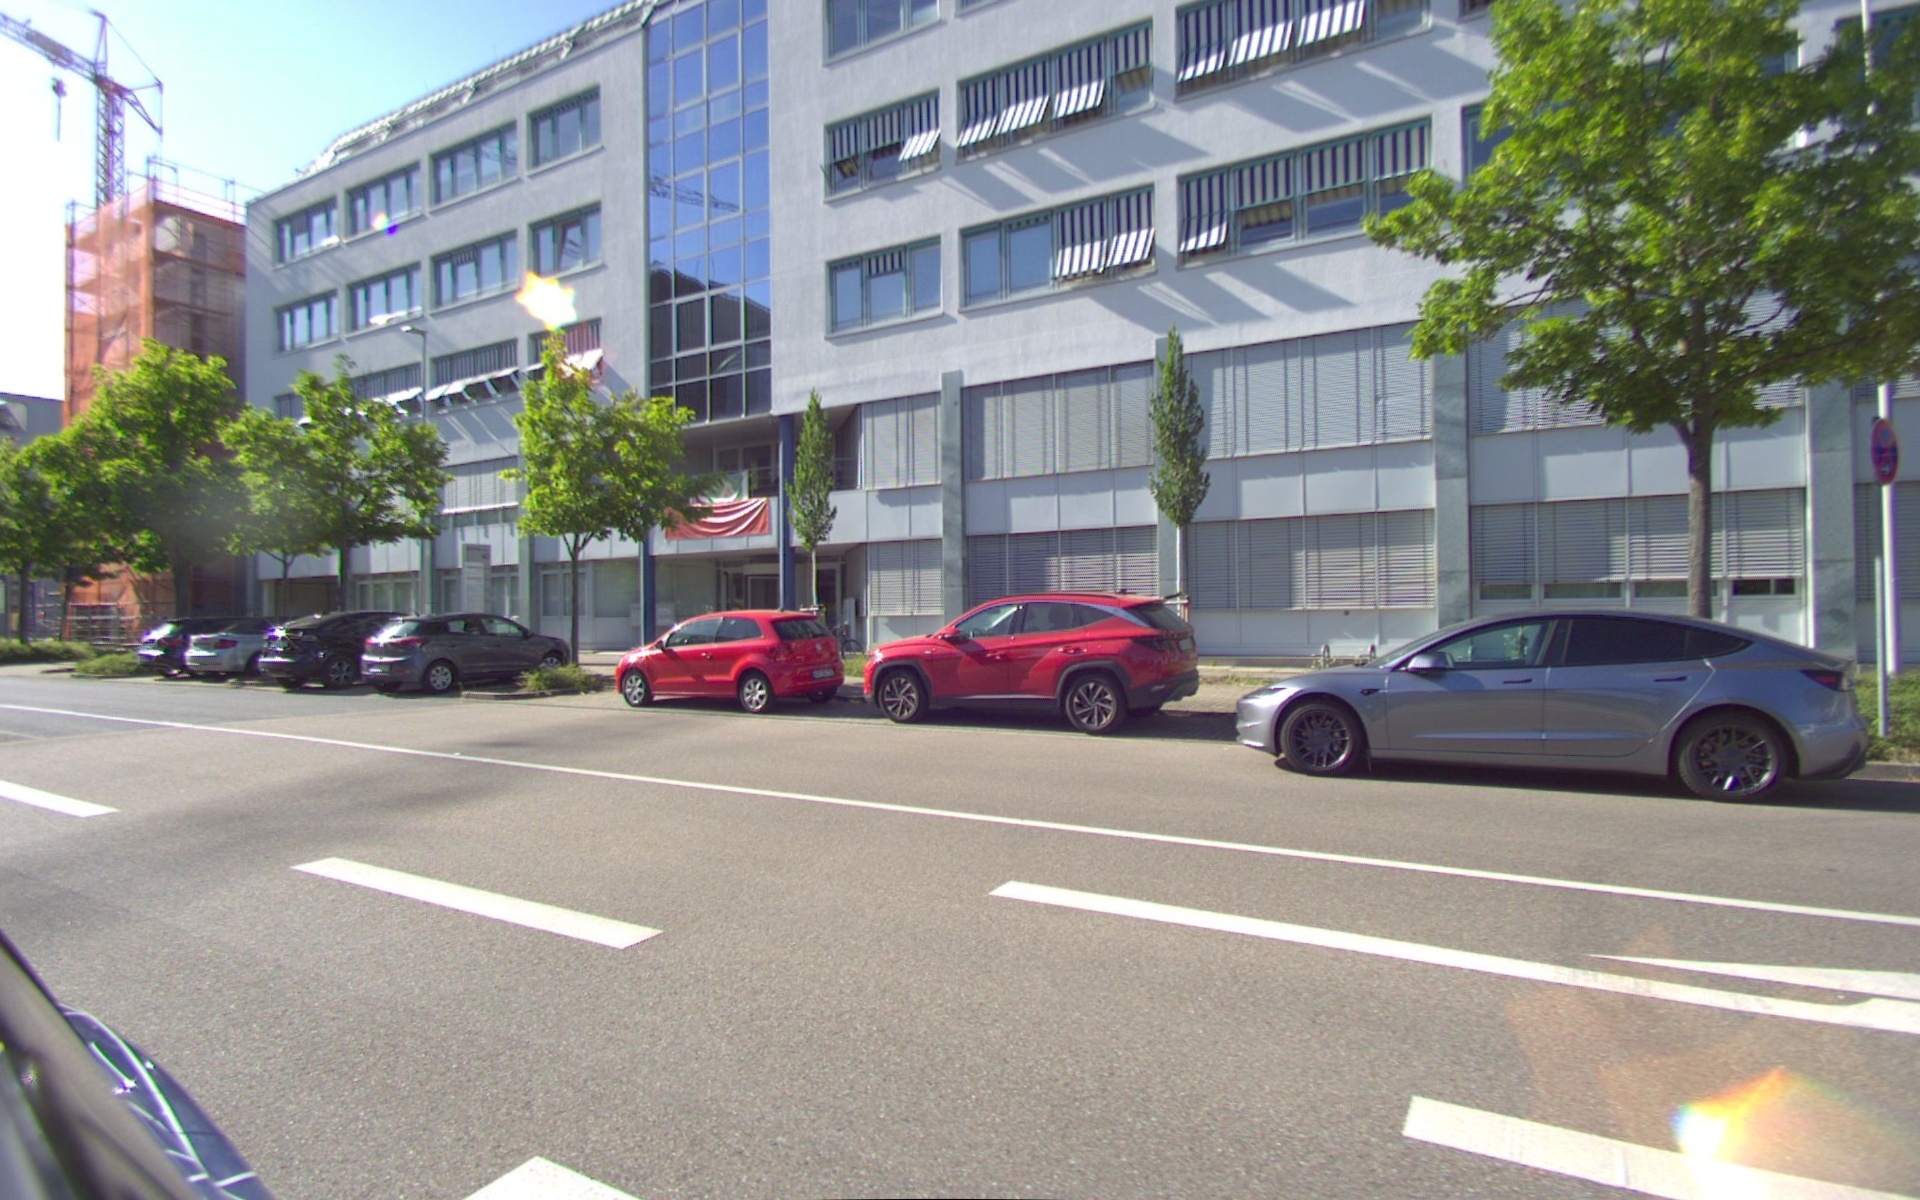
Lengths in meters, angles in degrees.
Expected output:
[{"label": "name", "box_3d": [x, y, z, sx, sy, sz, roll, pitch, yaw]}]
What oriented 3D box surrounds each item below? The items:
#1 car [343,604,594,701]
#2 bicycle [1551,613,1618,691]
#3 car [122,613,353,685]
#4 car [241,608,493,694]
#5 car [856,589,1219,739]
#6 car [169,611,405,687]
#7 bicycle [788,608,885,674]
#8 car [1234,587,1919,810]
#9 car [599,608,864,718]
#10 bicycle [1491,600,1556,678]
[{"label": "car", "box_3d": [-9.583, 0.952, 20.142, 1.684, 1.549, 4.361, -1, 1, 26]}, {"label": "bicycle", "box_3d": [9.115, 0.739, 14.749, 0.620, 1.077, 1.771, -1, -2, 38]}, {"label": "car", "box_3d": [-17.796, 1.151, 25.157, 1.686, 1.442, 4.356, -1, 1, 29]}, {"label": "car", "box_3d": [-12.358, 0.992, 21.416, 1.686, 1.442, 4.359, -1, 1, 28]}, {"label": "car", "box_3d": [0.929, 0.731, 12.908, 4.293, 1.619, 1.677, -1, 1, 30]}, {"label": "car", "box_3d": [-15.787, 1.094, 23.999, 1.686, 1.442, 4.357, -1, 1, 29]}, {"label": "bicycle", "box_3d": [-2.684, 0.876, 21.840, 2.228, 1.357, 0.702, -1, -2, 37]}, {"label": "car", "box_3d": [4.786, 0.716, 8.548, 4.526, 1.479, 1.677, -1, -2, 28]}, {"label": "car", "box_3d": [-3.548, 0.906, 15.552, 3.856, 1.442, 1.676, -1, 1, 31]}, {"label": "bicycle", "box_3d": [8.366, 0.571, 15.001, 0.555, 1.077, 1.750, -1, -2, 38]}]
